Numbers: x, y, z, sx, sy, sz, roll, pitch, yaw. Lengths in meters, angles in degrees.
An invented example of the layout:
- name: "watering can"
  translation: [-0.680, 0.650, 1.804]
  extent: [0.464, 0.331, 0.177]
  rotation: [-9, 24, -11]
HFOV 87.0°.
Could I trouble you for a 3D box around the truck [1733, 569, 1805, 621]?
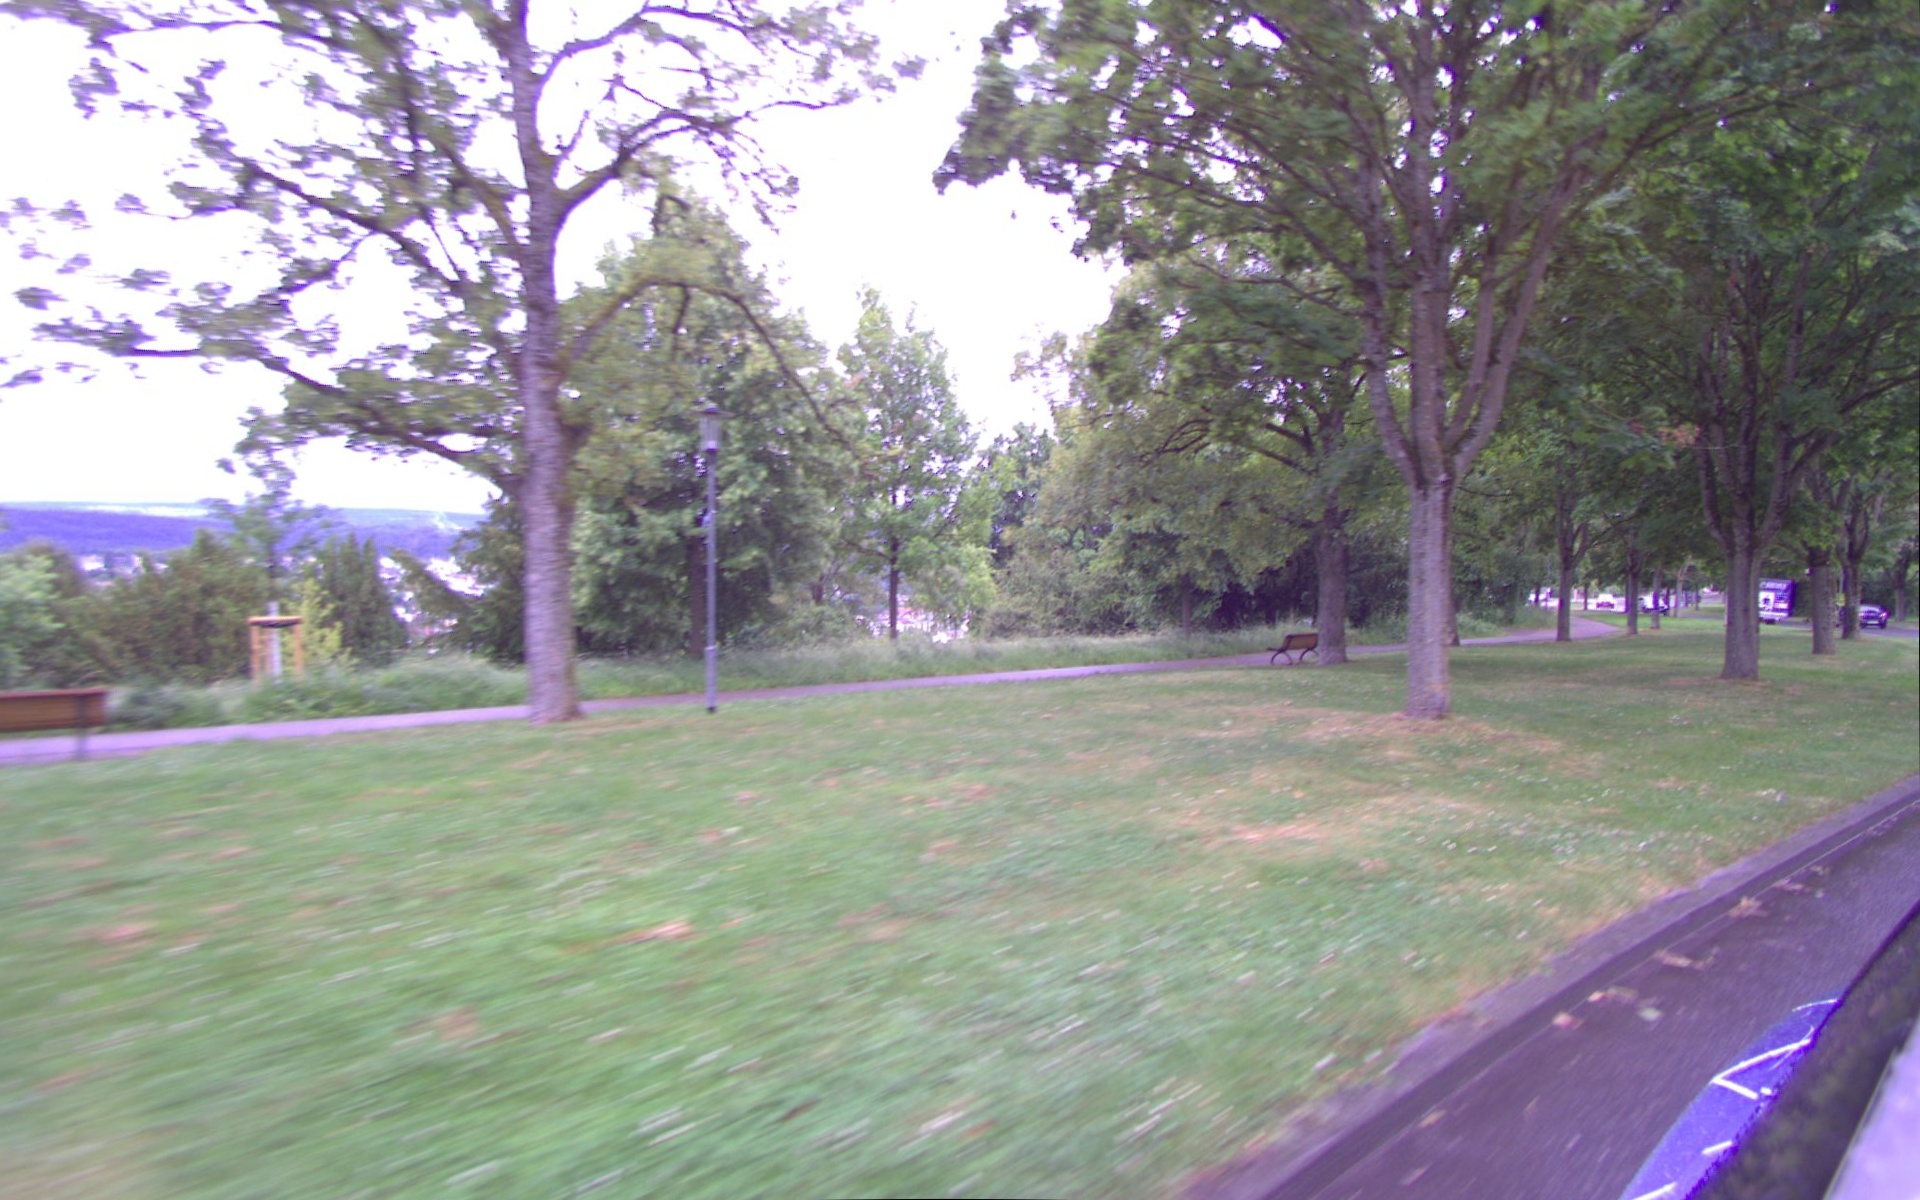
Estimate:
- name: "truck"
  translation: [50.015, -0.302, 62.705]
  extent: [2.123, 3.084, 5.129]
  rotation: [0, 0, 23]
